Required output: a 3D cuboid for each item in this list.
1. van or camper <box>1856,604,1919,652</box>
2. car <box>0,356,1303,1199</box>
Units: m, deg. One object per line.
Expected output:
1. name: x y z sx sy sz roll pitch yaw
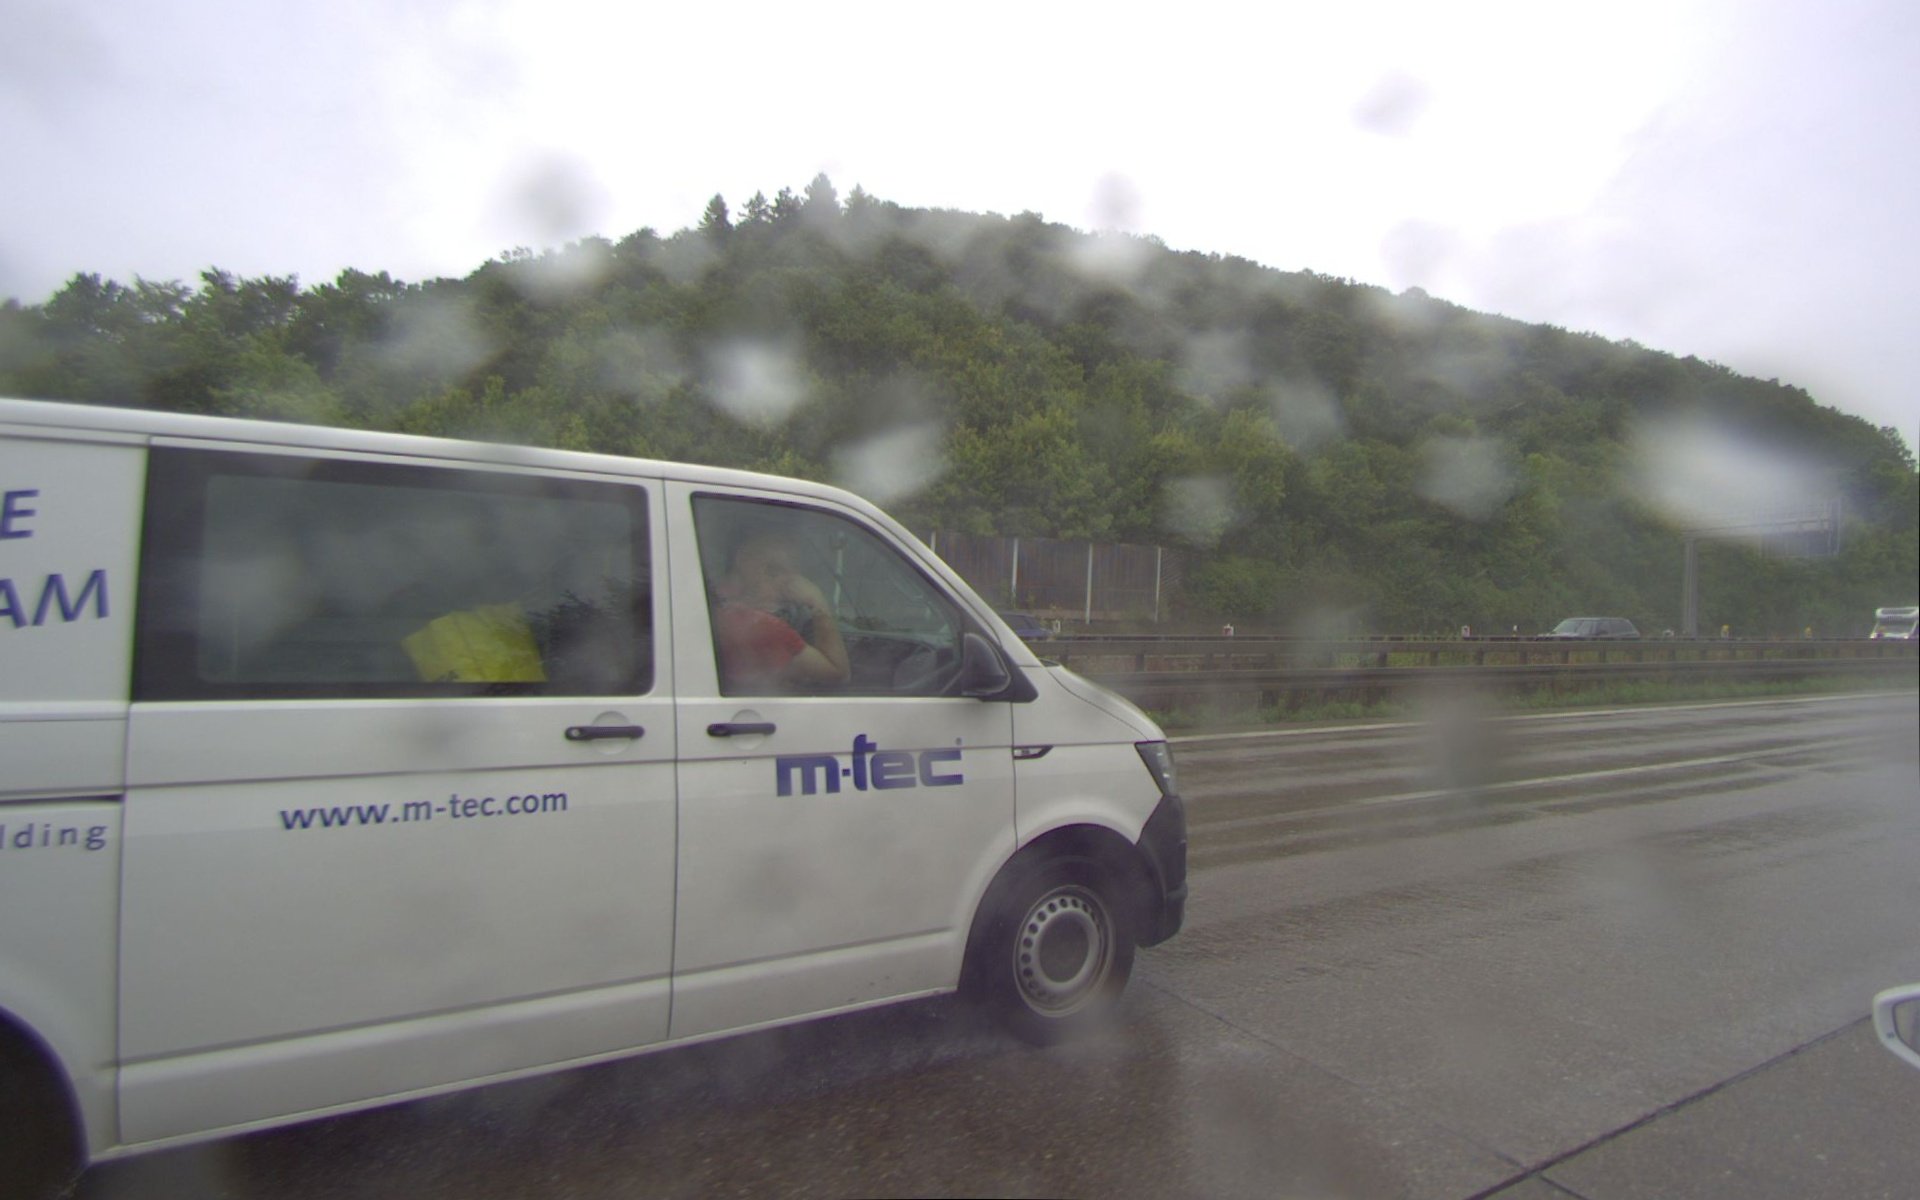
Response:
1. van or camper: 57.639 1.694 61.030 7.408 2.754 2.545 1 -1 -30
2. car: -1.303 0.493 3.419 4.983 1.919 1.890 1 0 -30
